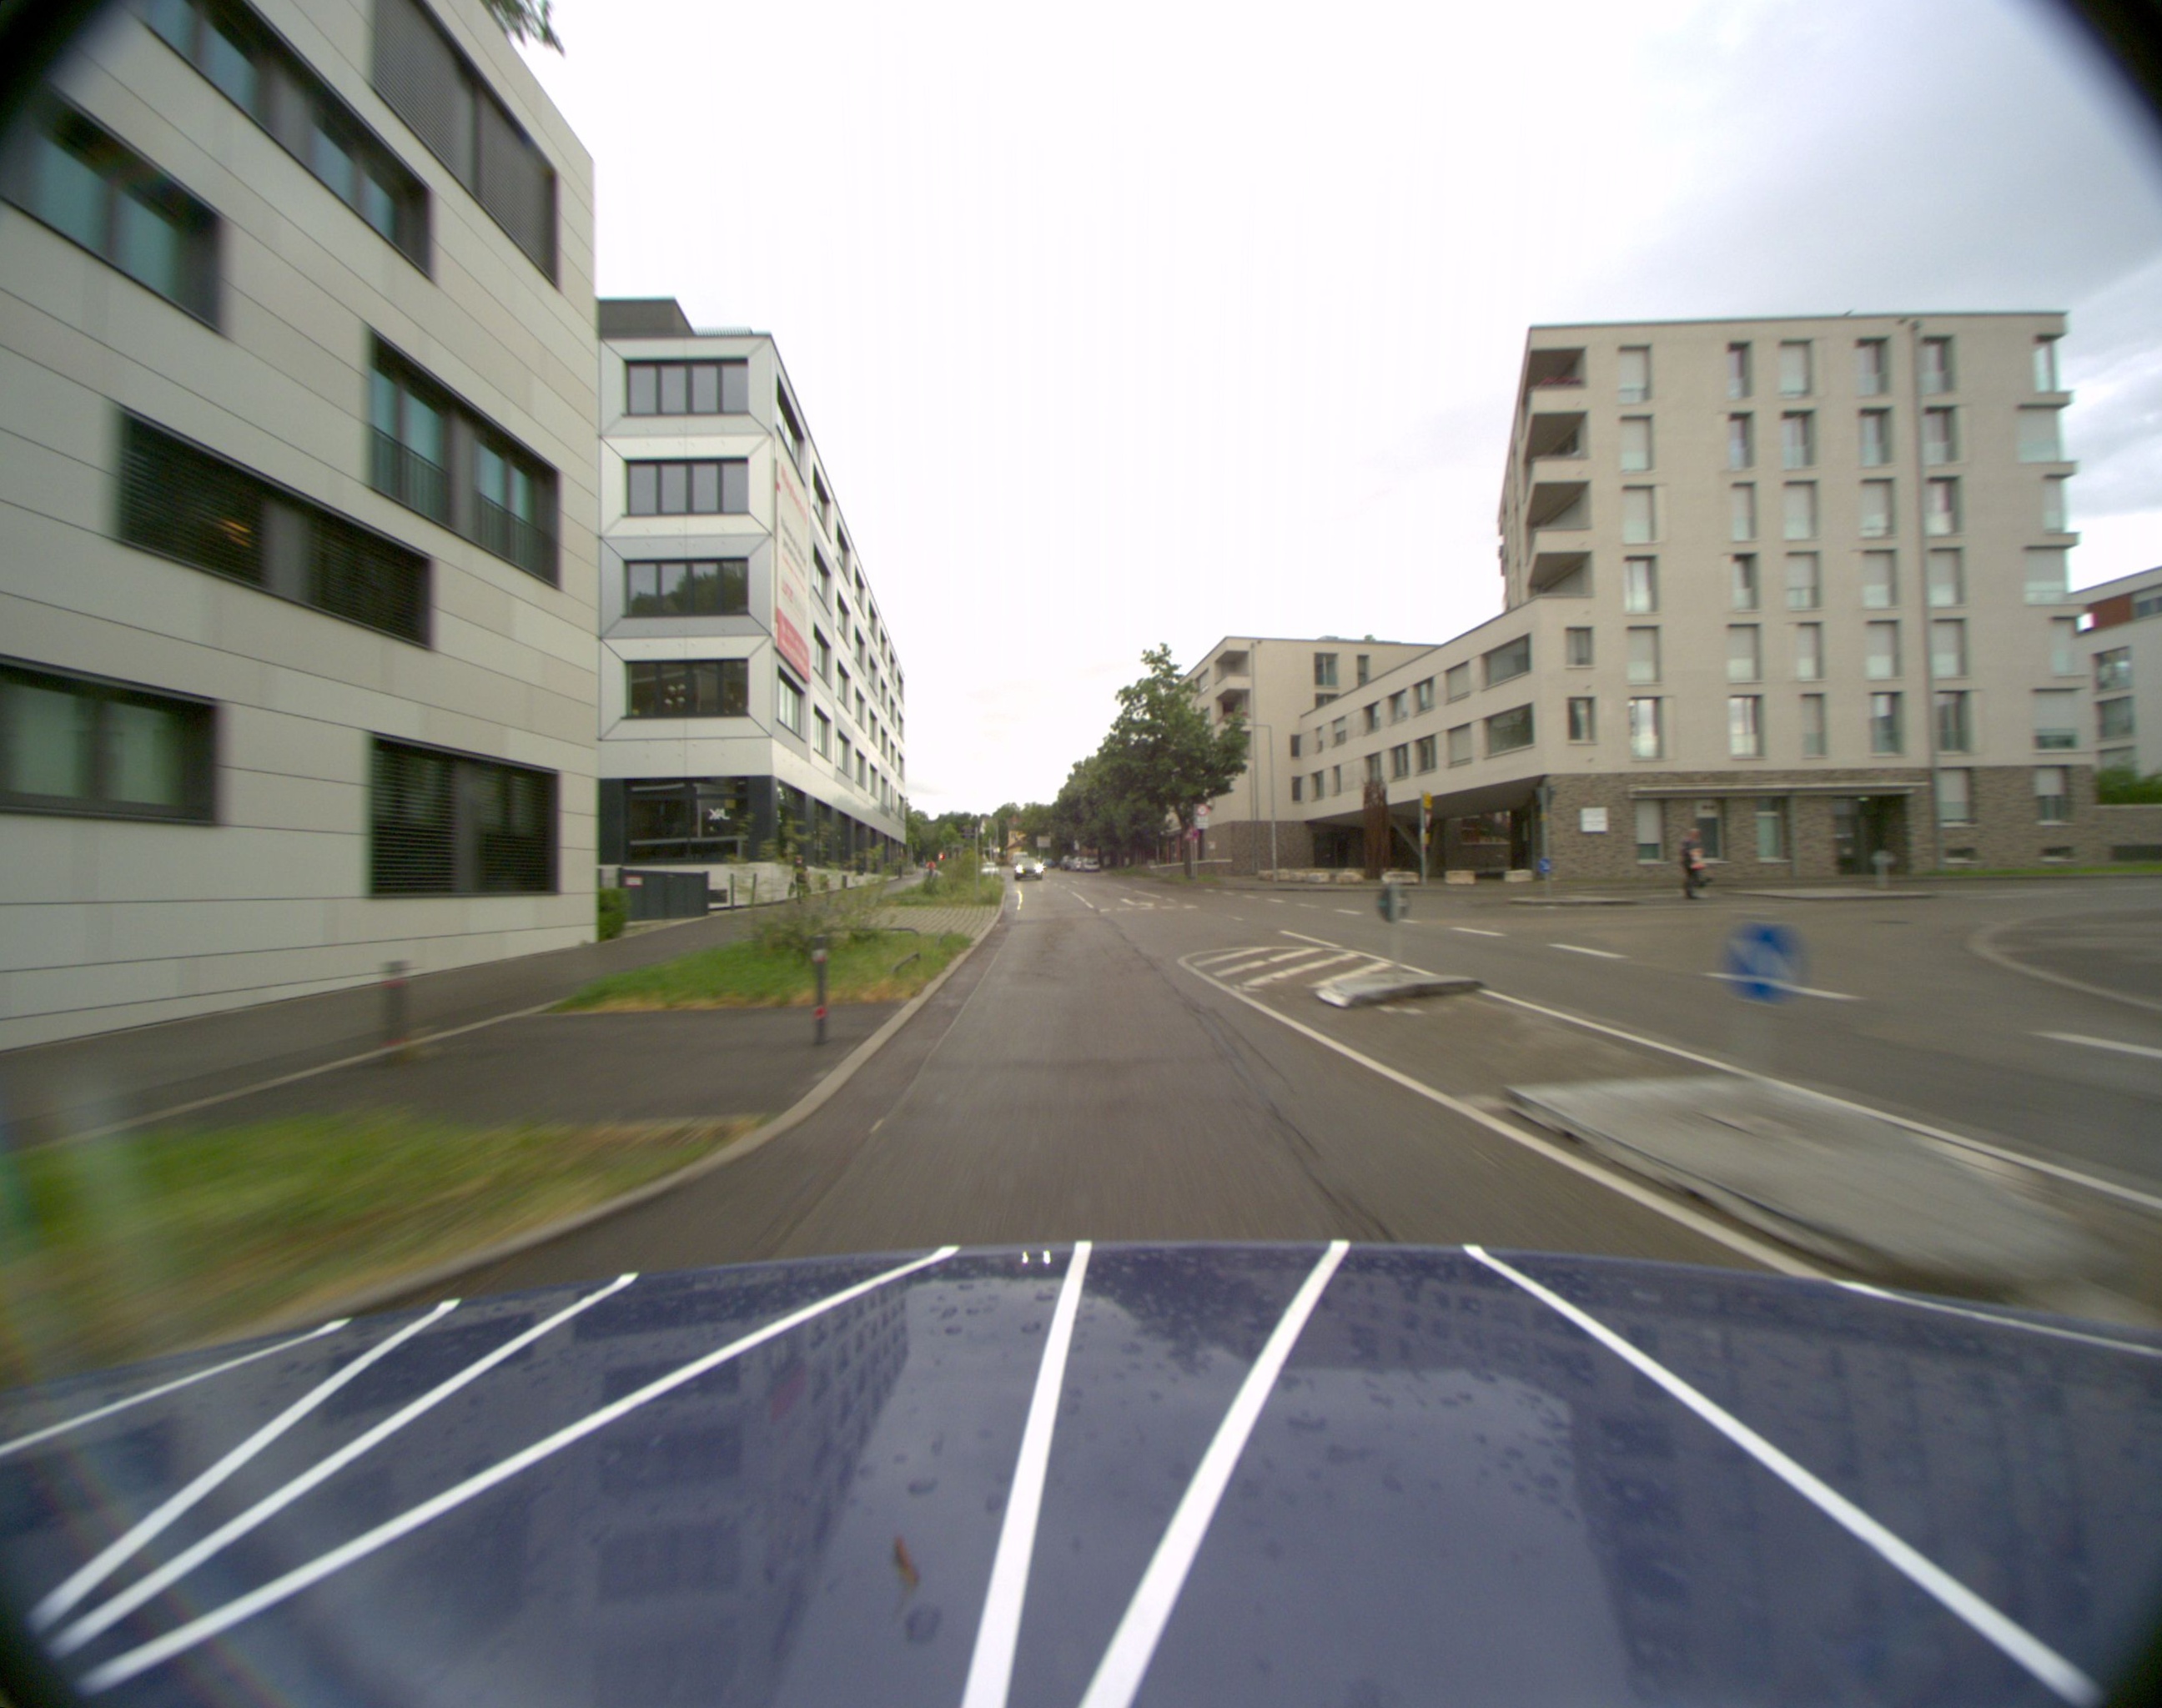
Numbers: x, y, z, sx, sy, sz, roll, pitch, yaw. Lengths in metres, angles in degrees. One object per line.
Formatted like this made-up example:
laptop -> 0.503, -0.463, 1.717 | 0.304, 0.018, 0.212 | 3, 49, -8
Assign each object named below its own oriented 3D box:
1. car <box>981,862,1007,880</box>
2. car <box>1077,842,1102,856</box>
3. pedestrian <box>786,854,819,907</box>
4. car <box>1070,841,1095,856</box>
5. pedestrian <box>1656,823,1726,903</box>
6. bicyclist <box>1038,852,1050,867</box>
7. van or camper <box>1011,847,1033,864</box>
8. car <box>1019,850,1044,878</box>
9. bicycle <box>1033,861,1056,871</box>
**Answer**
car -> -7.941, 1.537, 69.335 | 2.046, 1.456, 4.498 | -2, 1, -10
car -> 0.895, -0.548, 80.053 | 1.886, 1.454, 3.843 | -2, 1, -10
pedestrian -> -9.564, 0.902, 26.092 | 0.825, 1.786, 0.778 | 0, 2, -3
car -> 0.130, -0.675, 84.579 | 1.996, 1.584, 4.484 | -2, 1, -11
pedestrian -> 16.106, 0.218, 20.072 | 1.060, 2.002, 1.097 | -2, 2, -27
bicyclist -> -3.823, 0.580, 78.536 | 1.200, 1.514, 0.803 | -1, 2, 4
van or camper -> -9.979, 0.172, 127.937 | 2.349, 2.749, 6.132 | -2, 1, -17
car -> -3.824, 0.741, 58.643 | 1.848, 1.961, 4.341 | -2, 1, -4
bicycle -> -3.750, 1.232, 78.551 | 2.252, 0.973, 0.804 | -1, 2, 4
